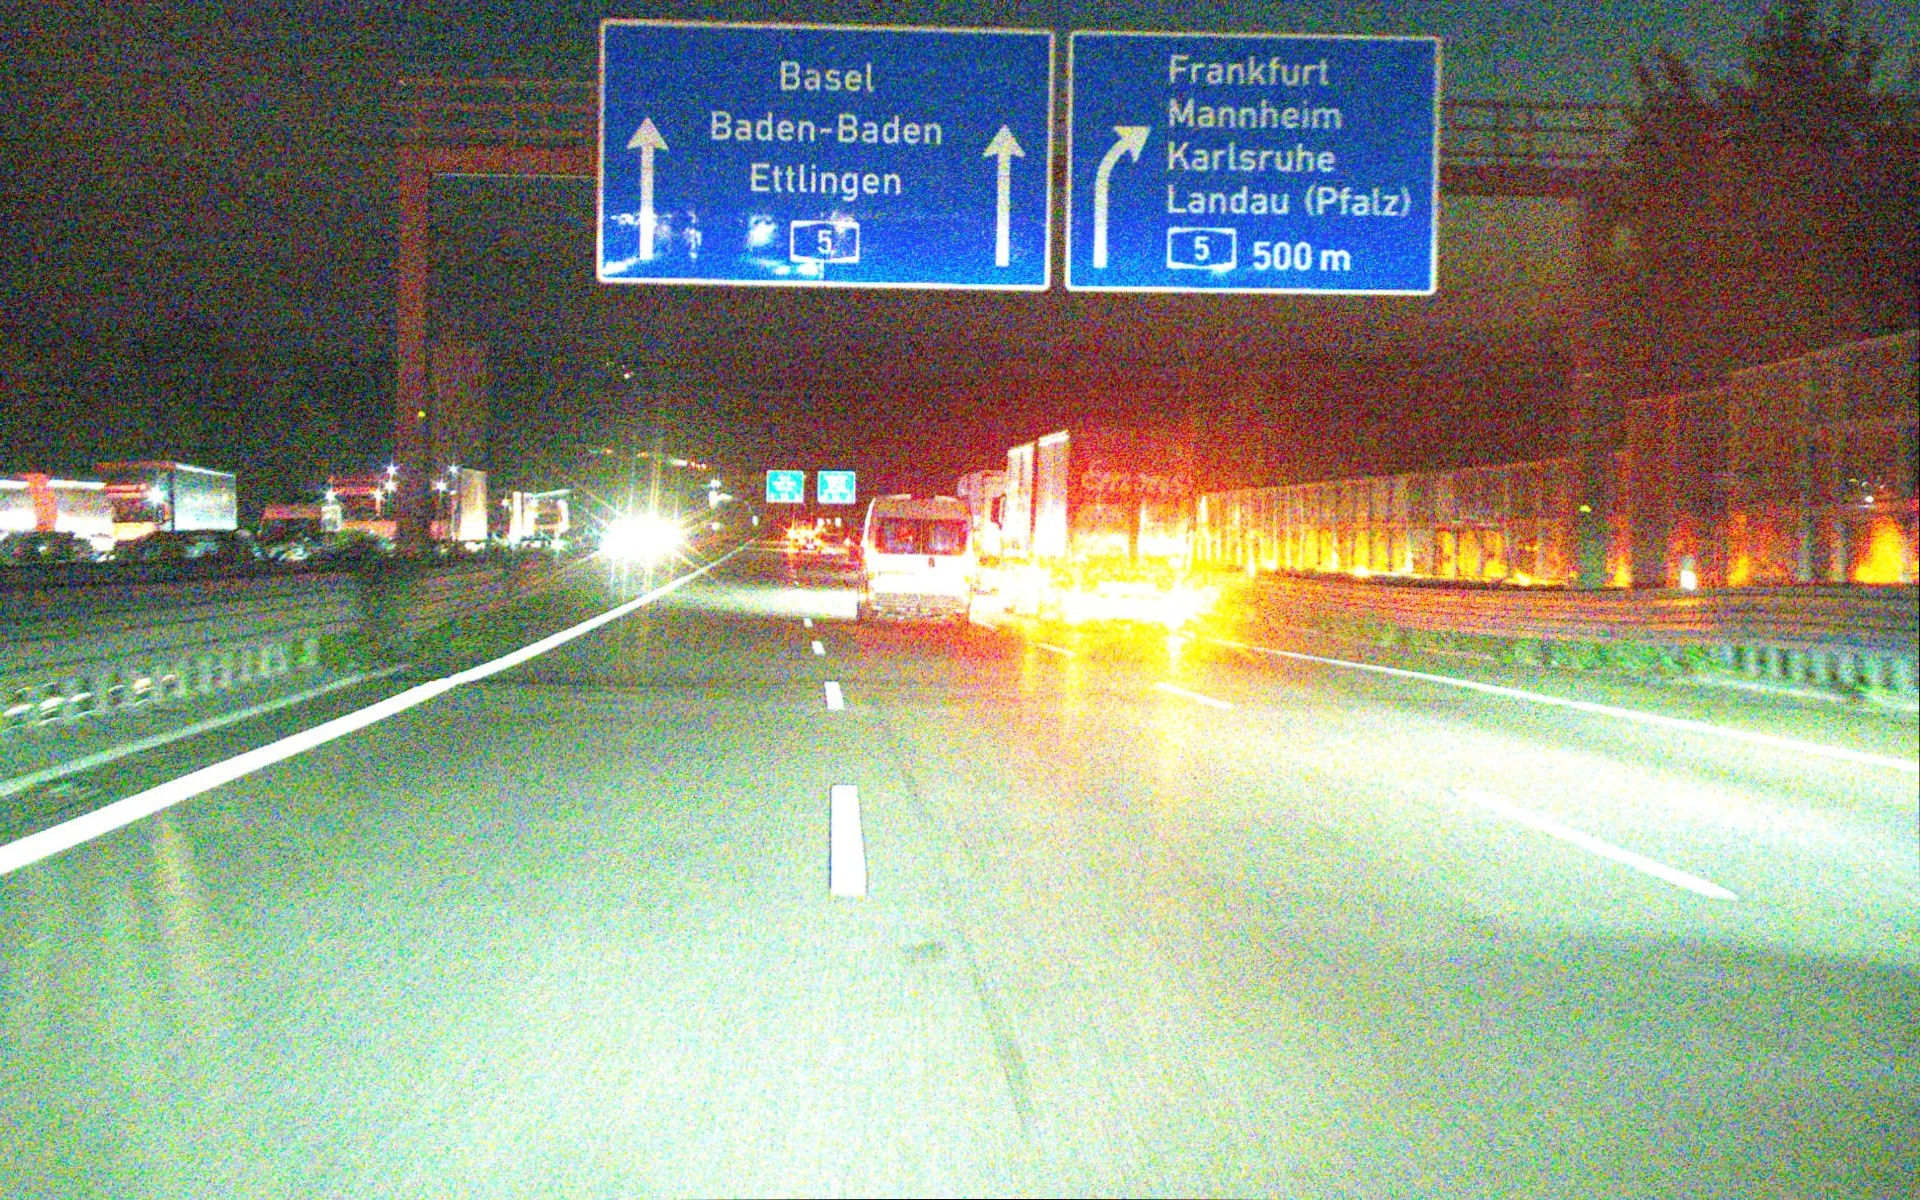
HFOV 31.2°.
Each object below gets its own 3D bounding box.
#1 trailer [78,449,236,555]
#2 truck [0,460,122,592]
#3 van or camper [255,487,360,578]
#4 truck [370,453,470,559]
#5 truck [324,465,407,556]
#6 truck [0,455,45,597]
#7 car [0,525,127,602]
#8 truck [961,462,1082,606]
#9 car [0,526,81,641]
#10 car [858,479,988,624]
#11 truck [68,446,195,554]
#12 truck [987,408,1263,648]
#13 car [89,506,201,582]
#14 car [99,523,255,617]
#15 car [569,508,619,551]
[{"bbox_3d":[-28.019,-3.362,120.619,2.959,3.430,13.439,2,1,-3],"label":"trailer"},{"bbox_3d":[-21.840,-1.683,81.258,2.556,2.975,7.453,1,0,-3],"label":"truck"},{"bbox_3d":[-19.585,-2.031,103.568,2.083,2.623,7.606,1,1,-3],"label":"van or camper"},{"bbox_3d":[-20.112,-3.443,128.324,2.874,3.661,6.781,3,0,-3],"label":"truck"},{"bbox_3d":[-24.900,-3.755,144.151,2.873,3.661,6.052,2,1,-6],"label":"truck"},{"bbox_3d":[-21.438,-1.567,72.573,2.556,2.975,7.453,1,0,-3],"label":"truck"},{"bbox_3d":[-16.397,-0.687,62.707,1.570,1.349,4.000,1,1,-2],"label":"car"},{"bbox_3d":[1.960,-2.267,116.413,3.344,4.460,13.911,2,1,-1],"label":"truck"},{"bbox_3d":[-12.046,-0.226,41.807,1.570,1.349,4.000,1,1,2],"label":"car"},{"bbox_3d":[-0.671,-0.879,65.850,2.337,2.631,5.247,1,0,0],"label":"car"},{"bbox_3d":[-27.755,-3.318,115.420,2.959,3.430,6.363,2,1,-3],"label":"truck"},{"bbox_3d":[3.310,-1.466,77.602,3.914,4.611,21.020,-1,0,-3],"label":"truck"},{"bbox_3d":[-17.098,-1.152,72.299,1.698,1.481,3.978,3,0,-5],"label":"car"},{"bbox_3d":[-11.713,-0.470,51.622,1.570,1.349,4.001,1,1,-2],"label":"car"},{"bbox_3d":[-18.435,-3.543,173.390,1.993,2.007,5.325,3,0,-2],"label":"car"}]
